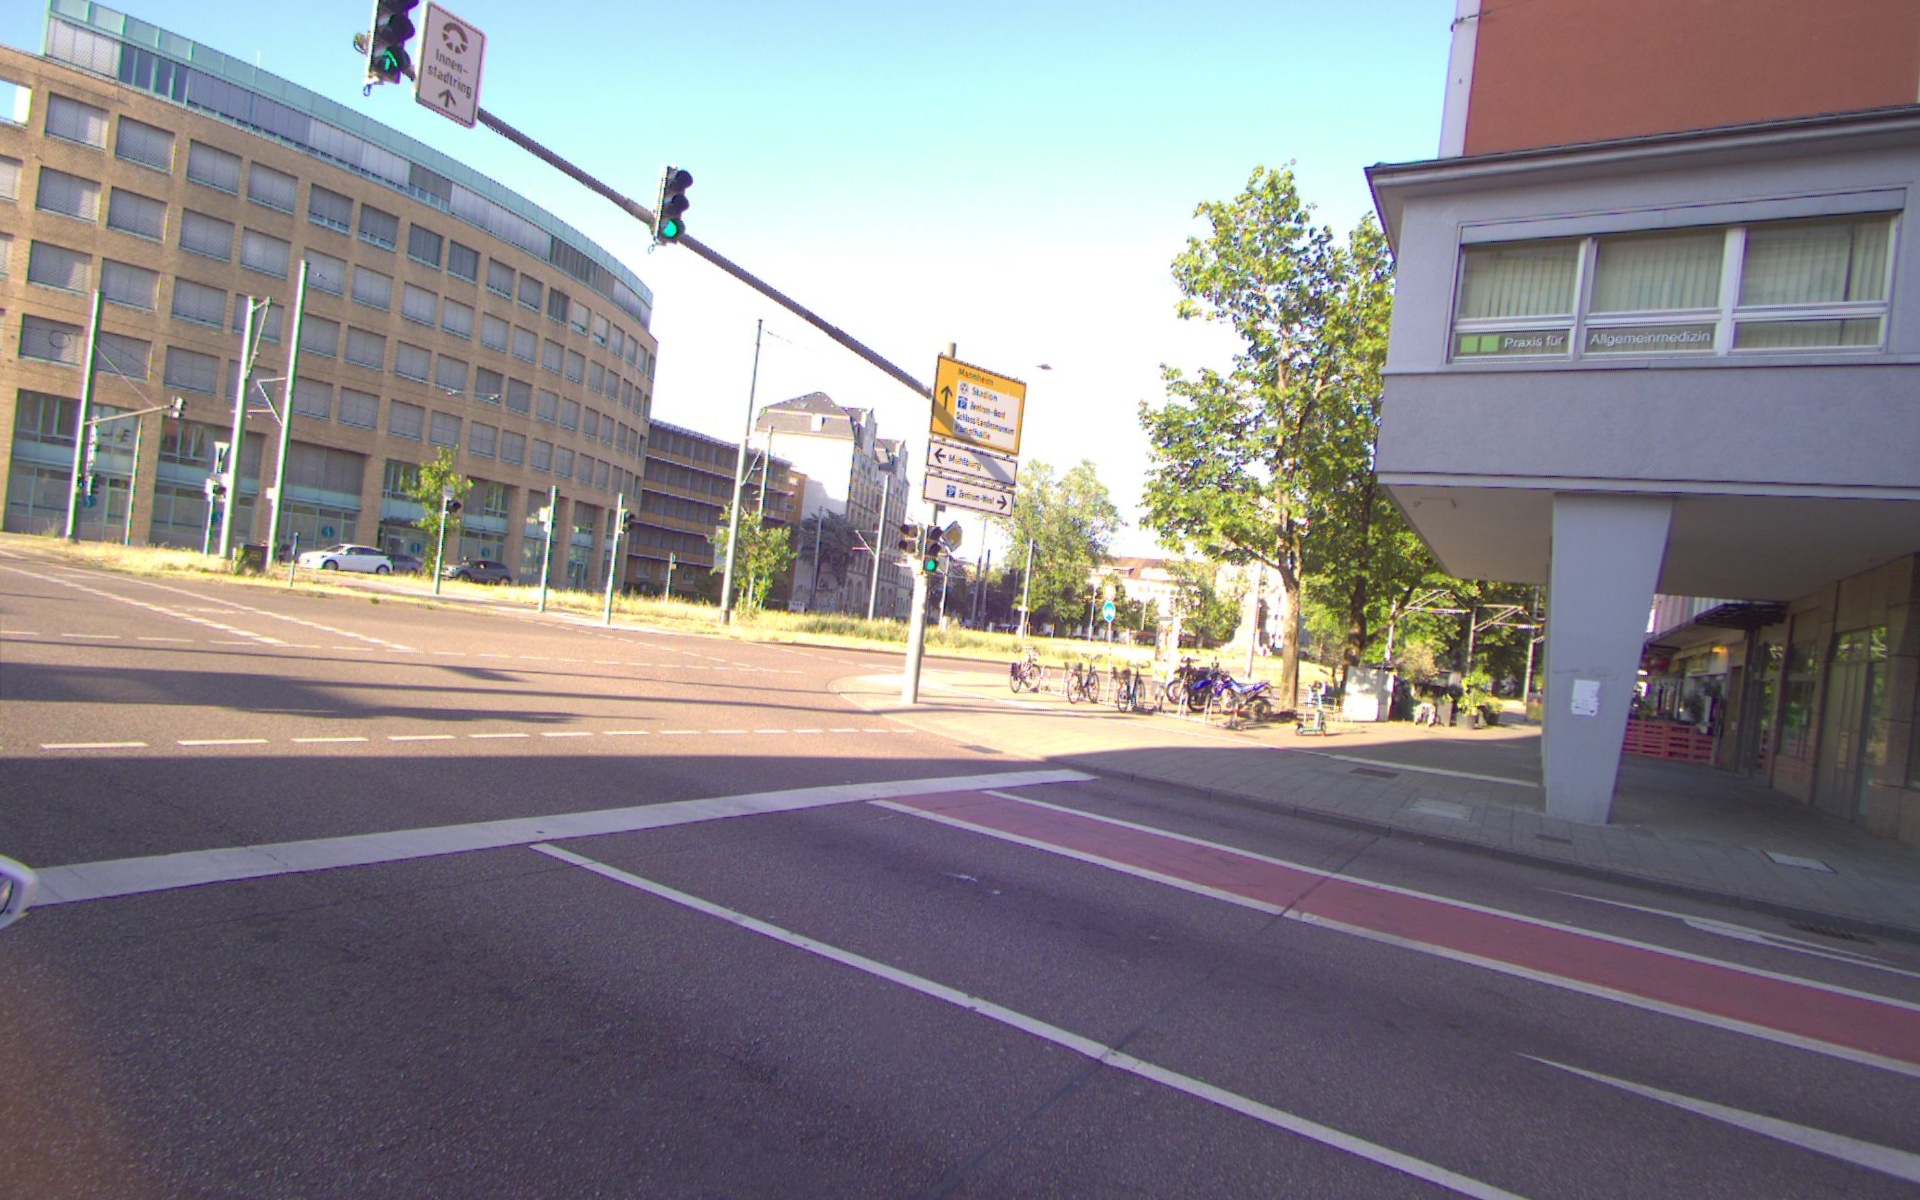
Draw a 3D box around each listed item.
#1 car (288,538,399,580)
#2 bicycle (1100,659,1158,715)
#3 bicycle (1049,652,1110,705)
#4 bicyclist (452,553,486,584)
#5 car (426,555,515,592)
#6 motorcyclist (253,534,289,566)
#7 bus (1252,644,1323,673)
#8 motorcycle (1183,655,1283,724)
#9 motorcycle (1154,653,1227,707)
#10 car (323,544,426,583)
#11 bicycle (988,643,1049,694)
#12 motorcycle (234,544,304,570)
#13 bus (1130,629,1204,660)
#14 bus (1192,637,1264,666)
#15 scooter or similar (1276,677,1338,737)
[{"bbox_3d":[-30.512,-2.014,49.891,1.961,1.509,4.171,6,-1,29],"label":"car"},{"bbox_3d":[3.912,1.972,23.122,0.583,1.129,2.058,7,1,28],"label":"bicycle"},{"bbox_3d":[2.841,1.836,23.741,0.584,1.129,2.003,7,1,29],"label":"bicycle"},{"bbox_3d":[-28.298,-1.821,57.988,1.134,1.591,1.225,6,0,30],"label":"bicyclist"},{"bbox_3d":[-27.085,-1.468,55.811,1.790,1.509,4.058,6,-1,30],"label":"car"},{"bbox_3d":[-35.282,-2.557,51.520,1.014,1.453,1.067,6,0,31],"label":"motorcyclist"},{"bbox_3d":[50.175,8.974,154.173,10.921,3.248,2.343,7,-1,-20],"label":"bus"},{"bbox_3d":[6.817,2.217,25.102,2.224,1.409,0.844,7,-1,19],"label":"motorcycle"},{"bbox_3d":[6.411,2.241,27.903,2.044,1.324,0.880,7,-1,-44],"label":"motorcycle"},{"bbox_3d":[-32.608,-1.999,56.133,1.953,1.555,4.488,6,-1,32],"label":"car"},{"bbox_3d":[1.450,1.660,24.565,0.584,1.129,1.974,7,1,29],"label":"bicycle"},{"bbox_3d":[-35.328,-2.201,51.508,1.014,0.975,2.722,6,-1,30],"label":"motorcycle"},{"bbox_3d":[30.078,6.469,145.999,10.977,3.248,2.397,7,-1,-25],"label":"bus"},{"bbox_3d":[40.044,7.703,150.313,10.927,3.248,2.342,7,-1,-21],"label":"bus"},{"bbox_3d":[7.808,2.421,22.635,1.549,1.251,0.479,6,1,-40],"label":"scooter or similar"}]
